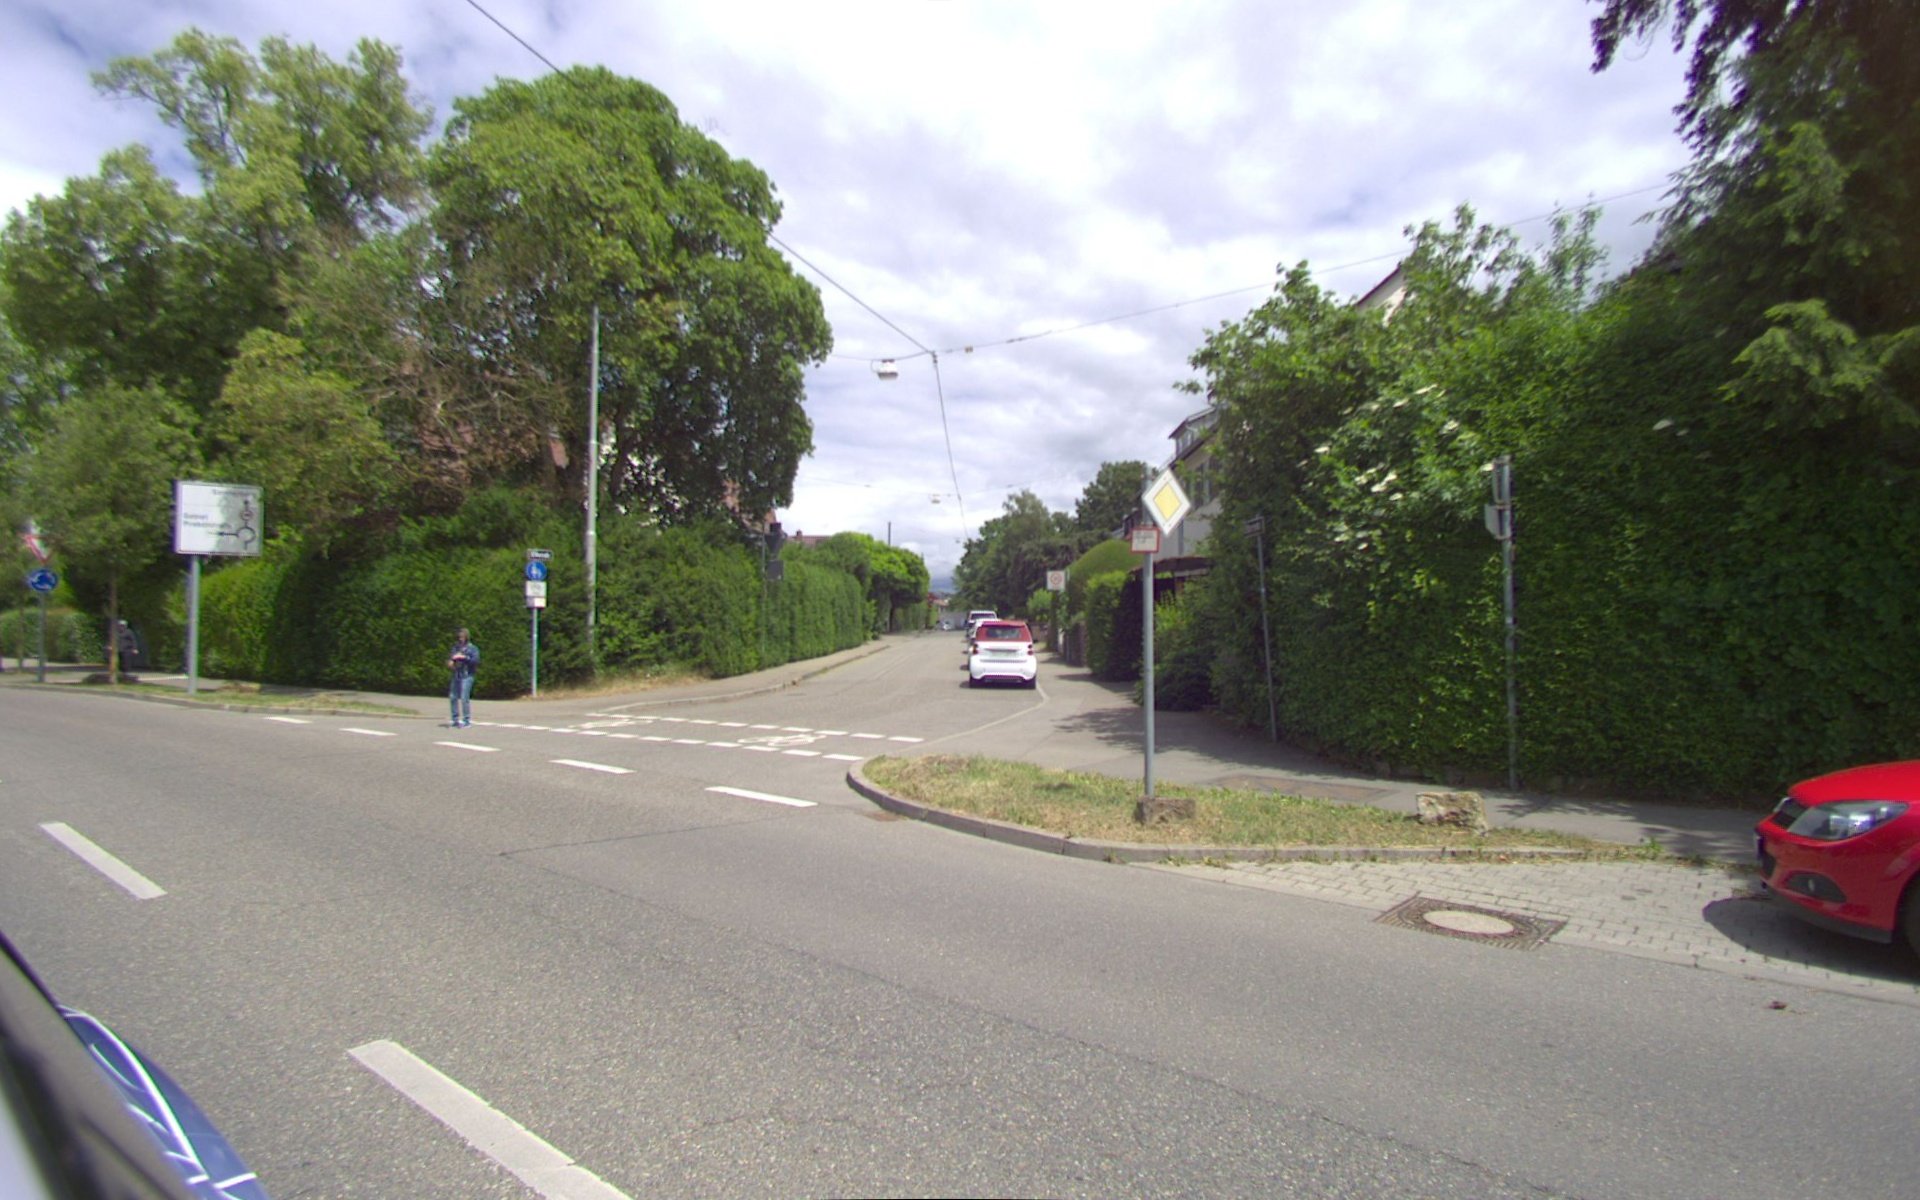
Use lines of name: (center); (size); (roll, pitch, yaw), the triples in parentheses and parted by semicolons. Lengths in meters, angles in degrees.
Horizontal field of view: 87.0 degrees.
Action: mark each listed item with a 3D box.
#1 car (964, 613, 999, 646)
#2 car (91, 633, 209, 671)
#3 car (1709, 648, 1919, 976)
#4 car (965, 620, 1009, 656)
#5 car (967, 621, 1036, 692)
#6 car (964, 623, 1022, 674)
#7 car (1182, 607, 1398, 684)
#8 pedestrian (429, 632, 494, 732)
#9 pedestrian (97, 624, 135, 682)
car: (1.347, 1.782, 61.502); (1.941, 1.885, 3.994); (0, -1, 5)
car: (-33.890, 2.209, 42.420); (1.664, 1.408, 3.531); (-1, -5, 39)
car: (5.925, 0.948, 4.068); (4.564, 1.388, 1.643); (-1, -1, 42)
car: (1.119, 1.588, 43.215); (1.682, 1.416, 4.281); (0, -1, -1)
car: (1.000, 1.298, 24.206); (1.569, 1.567, 2.775); (0, -1, 3)
car: (1.002, 1.448, 31.240); (1.692, 1.466, 3.533); (0, -1, 2)
car: (6.902, 0.945, 21.442); (3.942, 1.521, 1.729); (0, -2, -2)
pedestrian: (-7.839, 1.266, 15.932); (0.620, 1.520, 0.730); (0, -2, 4)
pedestrian: (-25.228, 1.559, 30.267); (0.694, 1.704, 0.736); (-1, -2, 40)
